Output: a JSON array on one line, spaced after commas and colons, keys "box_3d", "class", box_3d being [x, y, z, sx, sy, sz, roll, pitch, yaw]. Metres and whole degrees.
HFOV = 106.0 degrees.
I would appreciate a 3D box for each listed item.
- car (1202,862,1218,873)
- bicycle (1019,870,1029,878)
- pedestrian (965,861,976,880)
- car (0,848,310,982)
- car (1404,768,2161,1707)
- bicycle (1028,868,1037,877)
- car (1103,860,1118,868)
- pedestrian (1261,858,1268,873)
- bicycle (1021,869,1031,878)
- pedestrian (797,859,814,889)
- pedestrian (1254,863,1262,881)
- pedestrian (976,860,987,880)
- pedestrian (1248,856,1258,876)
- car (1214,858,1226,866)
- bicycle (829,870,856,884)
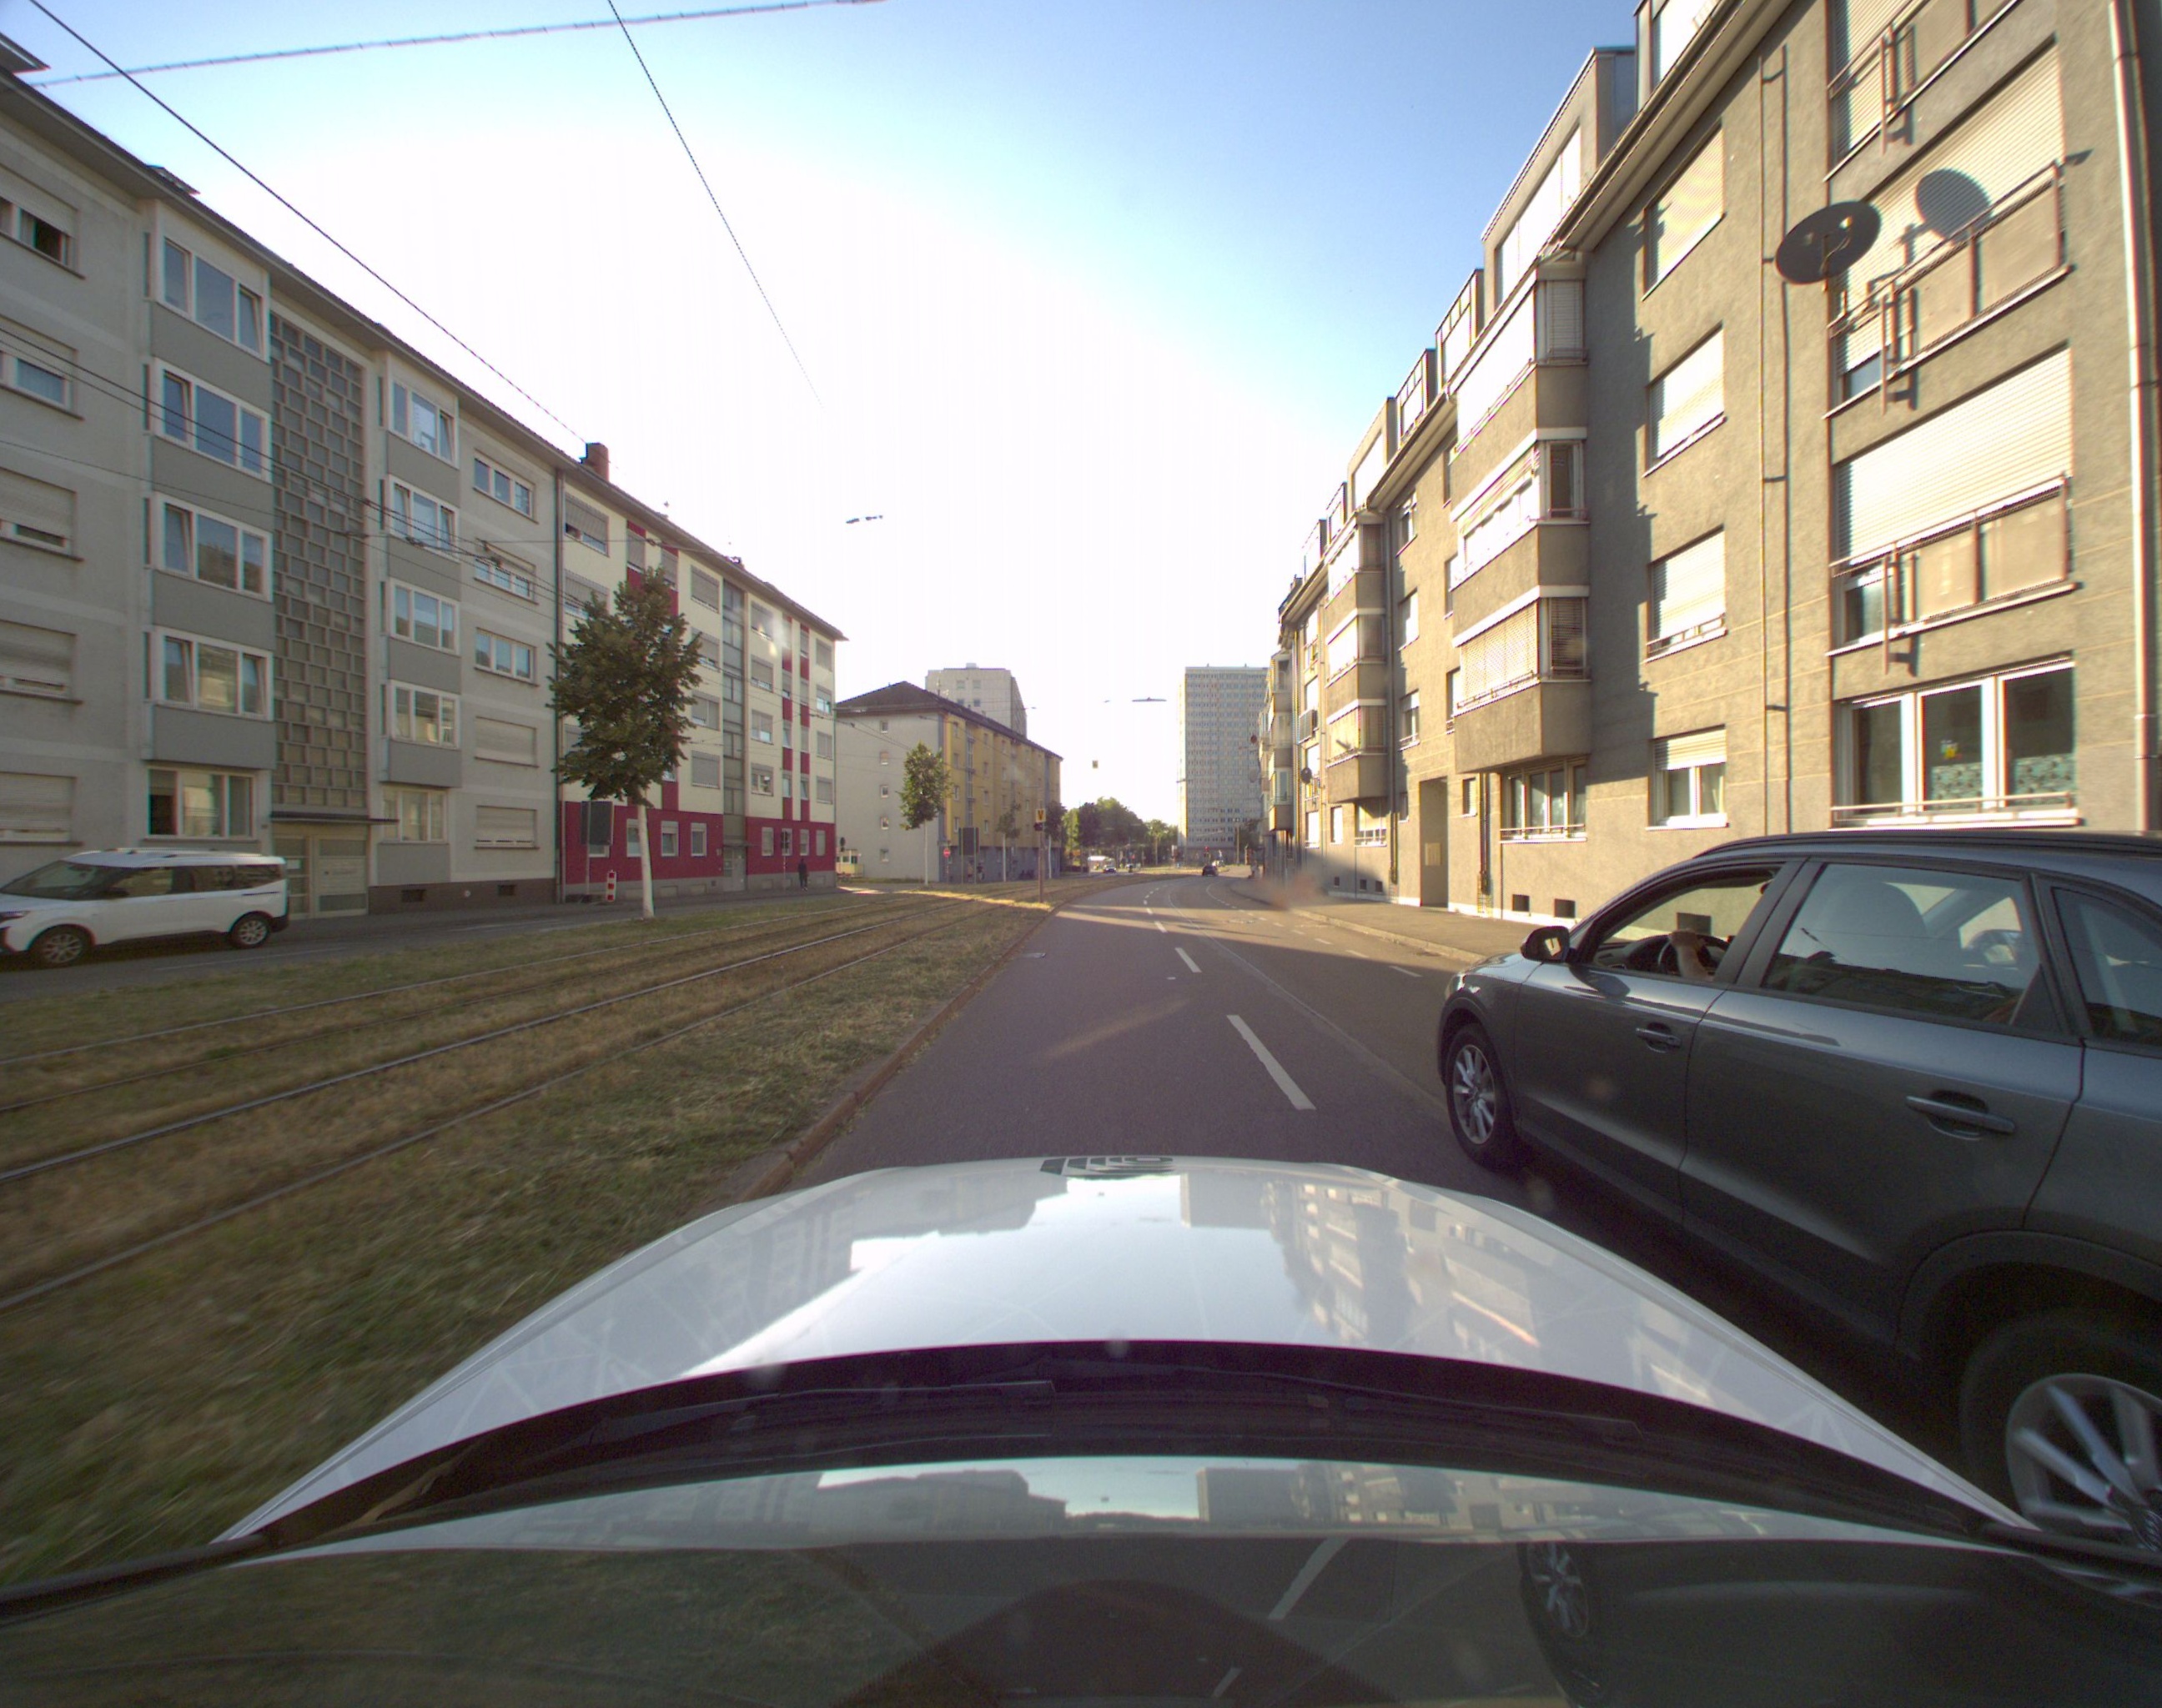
[{"box_3d": [17.028, 1.736, 107.415, 1.759, 1.422, 3.871, -1, 0, 14], "class": "car"}, {"box_3d": [-6.306, 2.198, 90.121, 0.424, 0.925, 1.919, 3, 0, 14], "class": "bicycle"}, {"box_3d": [-9.982, 1.463, 73.549, 0.612, 1.694, 0.708, 4, 0, 12], "class": "pedestrian"}, {"box_3d": [-16.879, 0.916, 14.407, 1.858, 1.829, 4.427, 6, 0, 4], "class": "car"}, {"box_3d": [2.704, 0.639, 2.725, 1.759, 1.587, 4.070, -1, 0, 2], "class": "car"}, {"box_3d": [-5.580, 2.159, 93.876, 0.424, 0.960, 1.919, -1, -1, 14], "class": "bicycle"}, {"box_3d": [5.418, 1.821, 149.120, 1.781, 1.469, 4.810, -3, -2, 11], "class": "car"}, {"box_3d": [15.769, 0.956, 70.006, 0.583, 1.251, 0.586, -1, -1, 12], "class": "pedestrian"}, {"box_3d": [-6.157, 2.203, 91.396, 0.424, 0.925, 1.919, 3, 0, 14], "class": "bicycle"}, {"box_3d": [-15.304, 1.098, 45.223, 0.610, 1.689, 0.793, 0, 0, 7], "class": "pedestrian"}, {"box_3d": [12.913, 1.323, 59.415, 0.511, 1.344, 0.610, -2, -2, 8], "class": "pedestrian"}, {"box_3d": [-9.050, 1.457, 74.069, 0.589, 1.773, 0.888, 4, 0, 12], "class": "pedestrian"}, {"box_3d": [14.951, 1.030, 70.729, 0.824, 1.772, 0.999, -1, -1, 12], "class": "pedestrian"}, {"box_3d": [31.544, 1.807, 185.022, 1.986, 1.530, 4.002, -1, 0, 2], "class": "car"}, {"box_3d": [-18.705, 1.793, 63.909, 1.951, 1.076, 0.602, 0, -1, -5], "class": "bicycle"}]
